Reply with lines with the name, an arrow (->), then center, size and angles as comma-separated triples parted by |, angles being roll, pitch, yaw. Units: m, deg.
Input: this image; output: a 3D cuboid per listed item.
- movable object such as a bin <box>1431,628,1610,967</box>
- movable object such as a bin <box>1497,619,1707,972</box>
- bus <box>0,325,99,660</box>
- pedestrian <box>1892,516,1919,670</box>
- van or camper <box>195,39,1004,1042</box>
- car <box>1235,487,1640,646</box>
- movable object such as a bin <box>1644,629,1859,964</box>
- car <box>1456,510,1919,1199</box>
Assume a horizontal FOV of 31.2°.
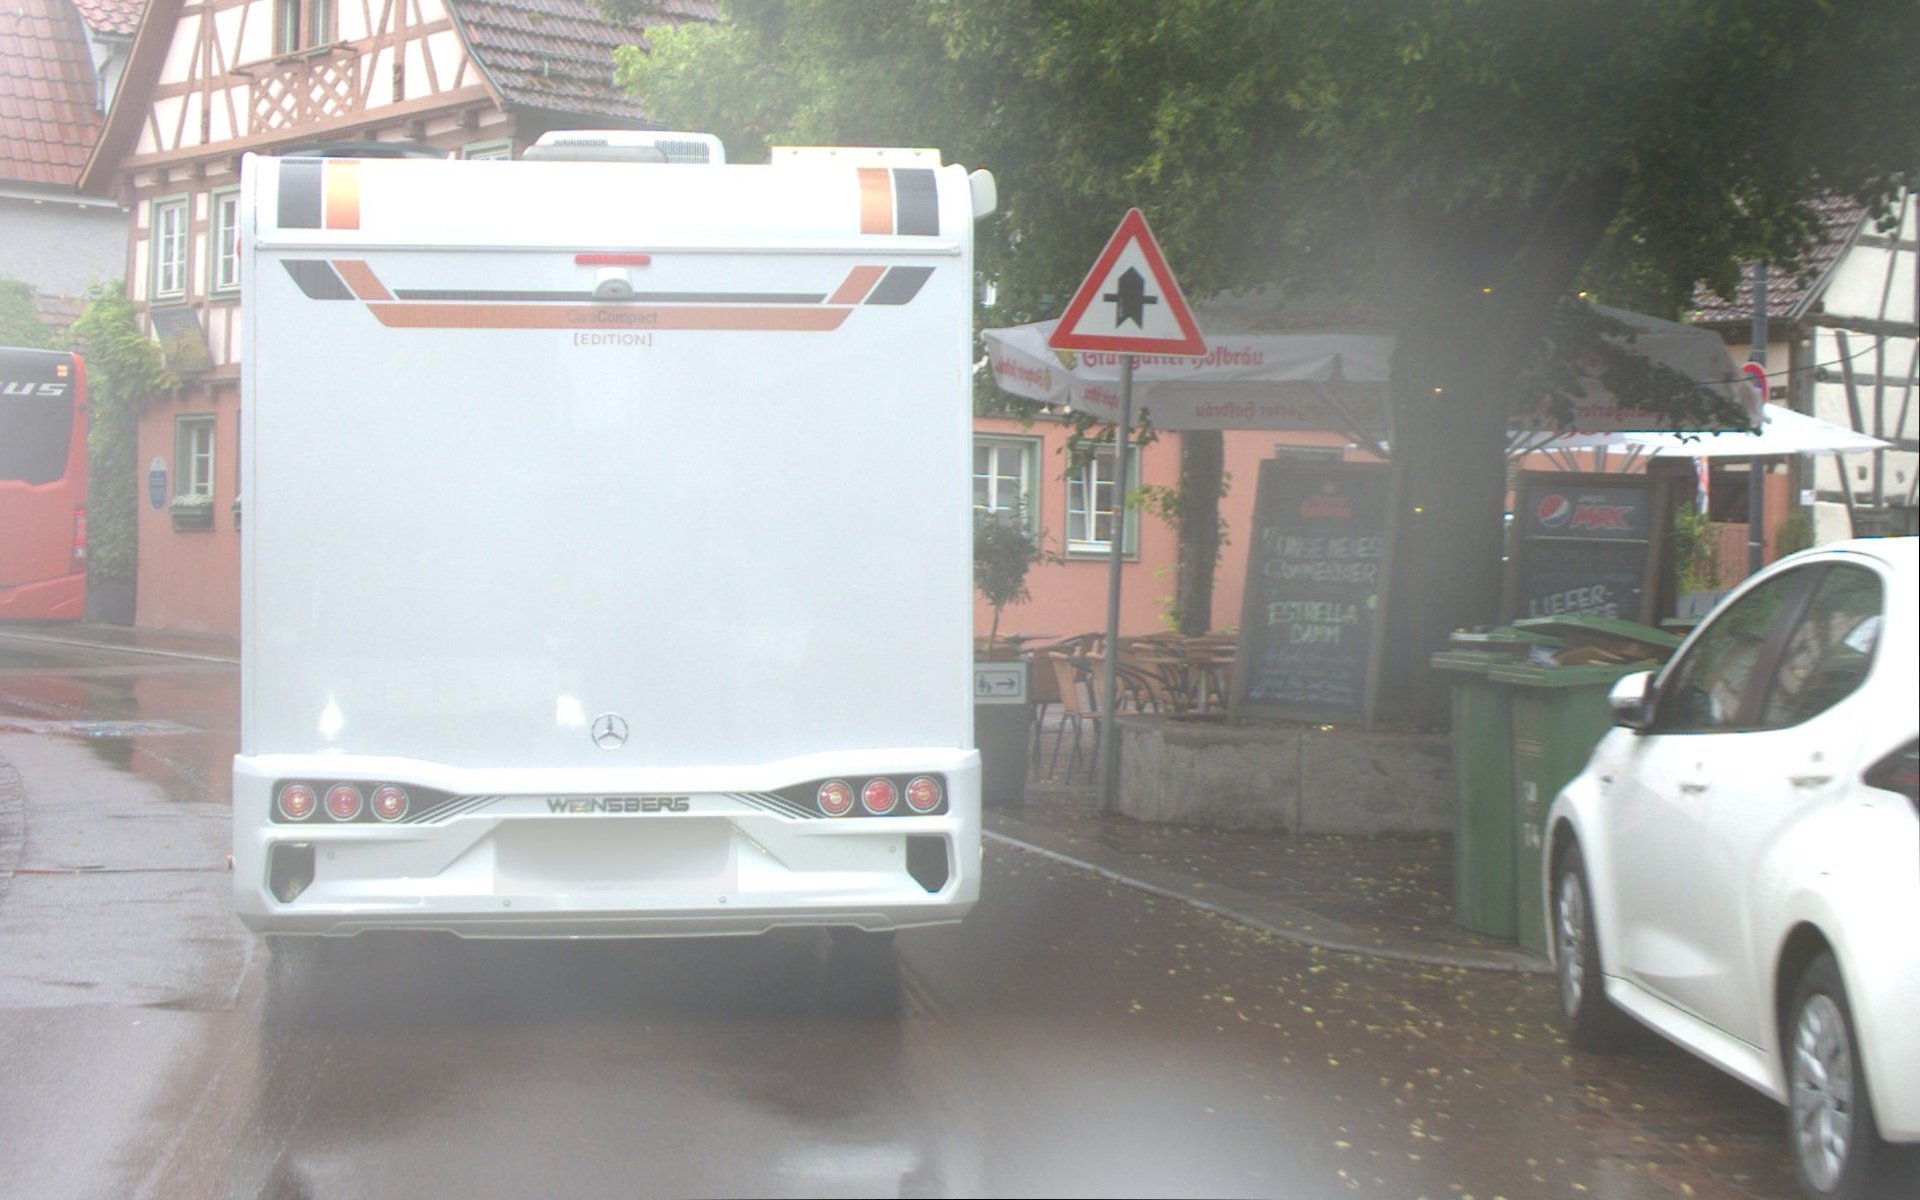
movable object such as a bin -> 1.978, 0.687, 12.163 | 0.476, 1.165, 0.489 | 1, 0, -10
movable object such as a bin -> 2.149, 0.645, 11.533 | 0.533, 1.145, 0.501 | 1, 0, -10
bus -> -11.282, -1.090, 35.597 | 2.641, 3.216, 6.602 | 1, 1, -32
pedestrian -> 9.782, -0.070, 33.992 | 0.839, 1.513, 0.760 | 0, 1, -44
van or camper -> -1.412, -0.194, 13.276 | 2.325, 2.909, 6.394 | 1, 1, -7
car -> 5.474, -0.376, 39.158 | 4.453, 1.626, 1.945 | 0, 4, -39
movable object such as a bin -> 2.807, 0.685, 12.227 | 0.544, 1.145, 0.586 | 1, 0, -10
car -> 2.531, 0.583, 8.841 | 1.690, 1.534, 4.404 | 1, 1, -2
